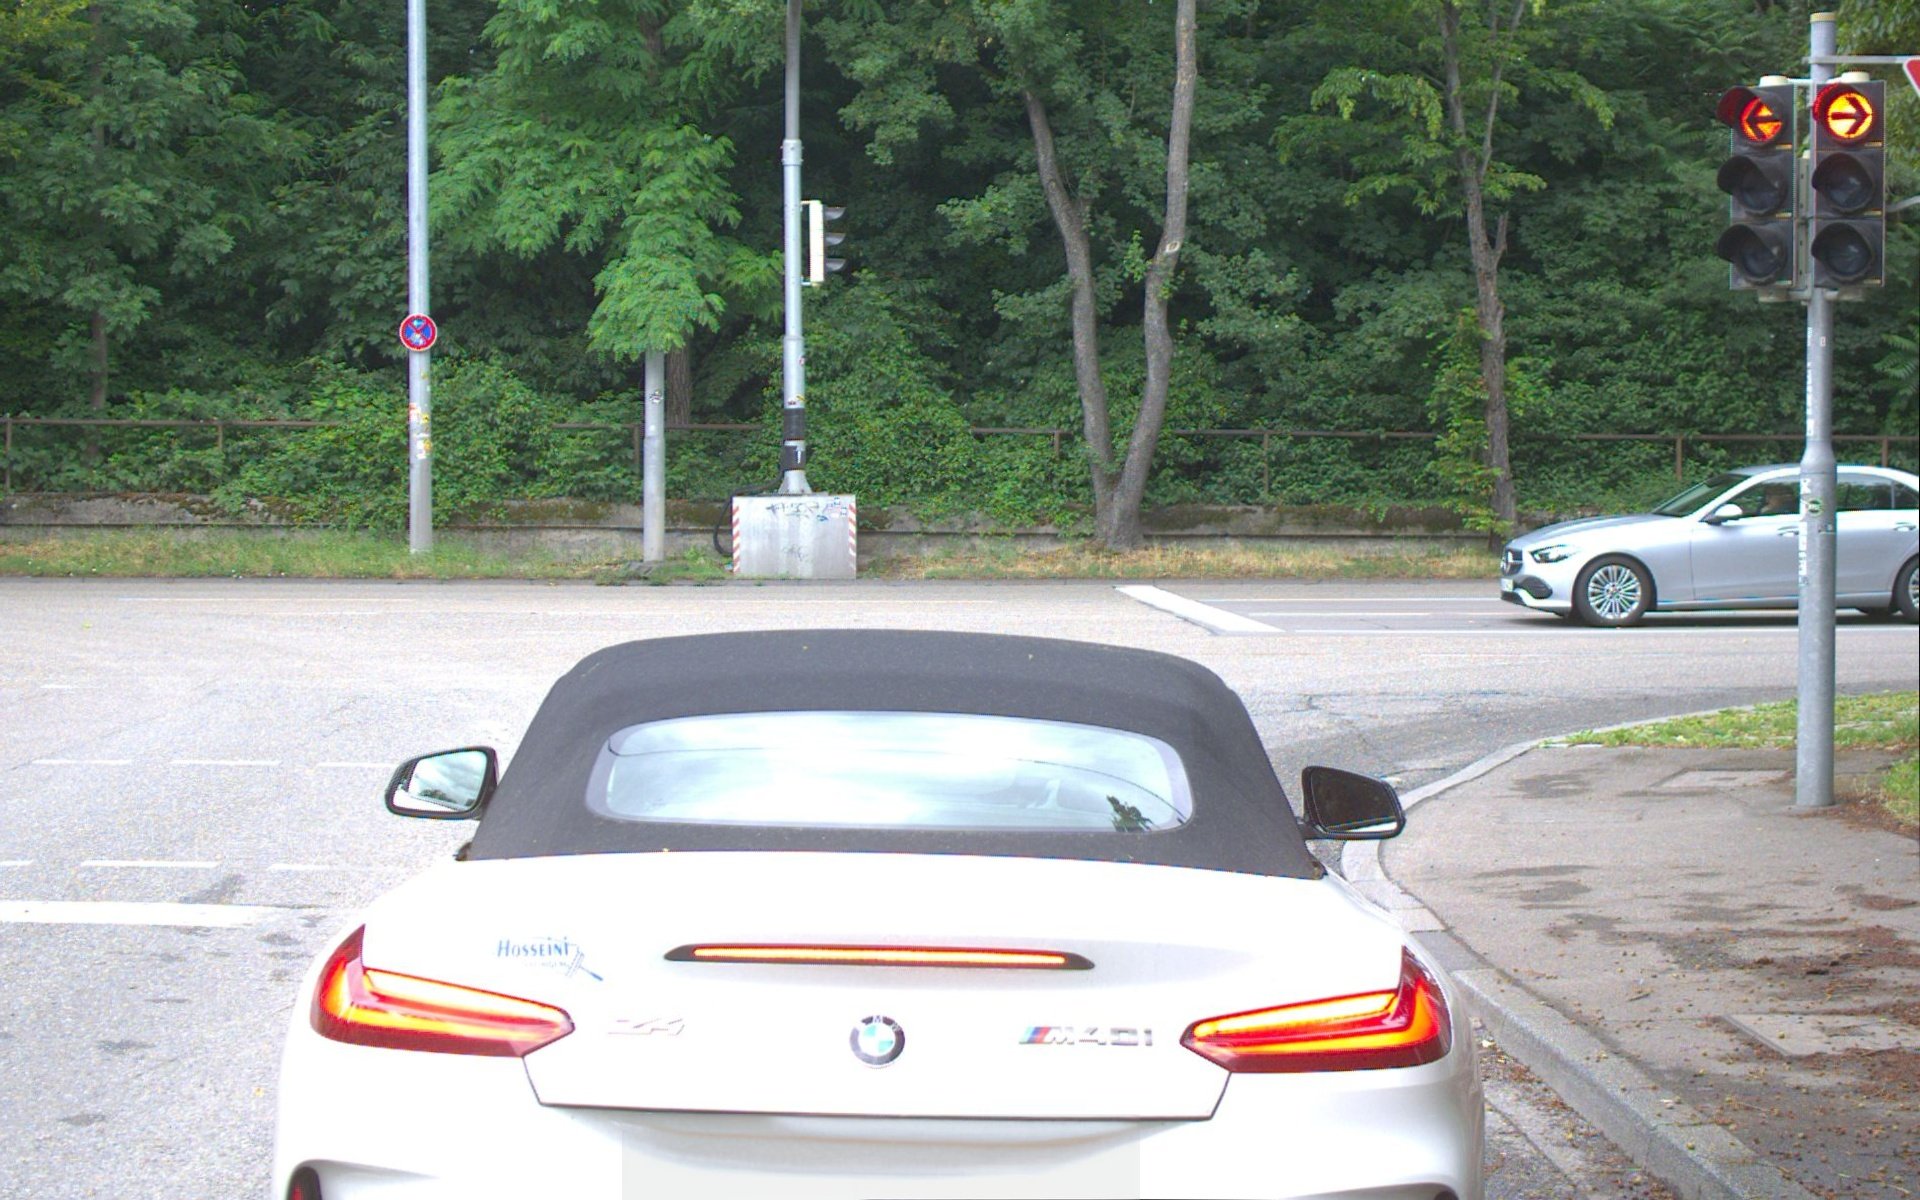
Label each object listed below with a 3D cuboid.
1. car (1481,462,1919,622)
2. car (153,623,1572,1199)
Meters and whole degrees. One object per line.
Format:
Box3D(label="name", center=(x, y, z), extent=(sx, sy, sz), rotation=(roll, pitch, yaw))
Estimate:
Box3D(label="car", center=(7.257, -0.537, 31.081), extent=(4.751, 1.329, 1.834), rotation=(1, 3, -2))
Box3D(label="car", center=(-0.219, 0.697, 6.470), extent=(1.827, 1.253, 4.000), rotation=(2, 0, -3))
